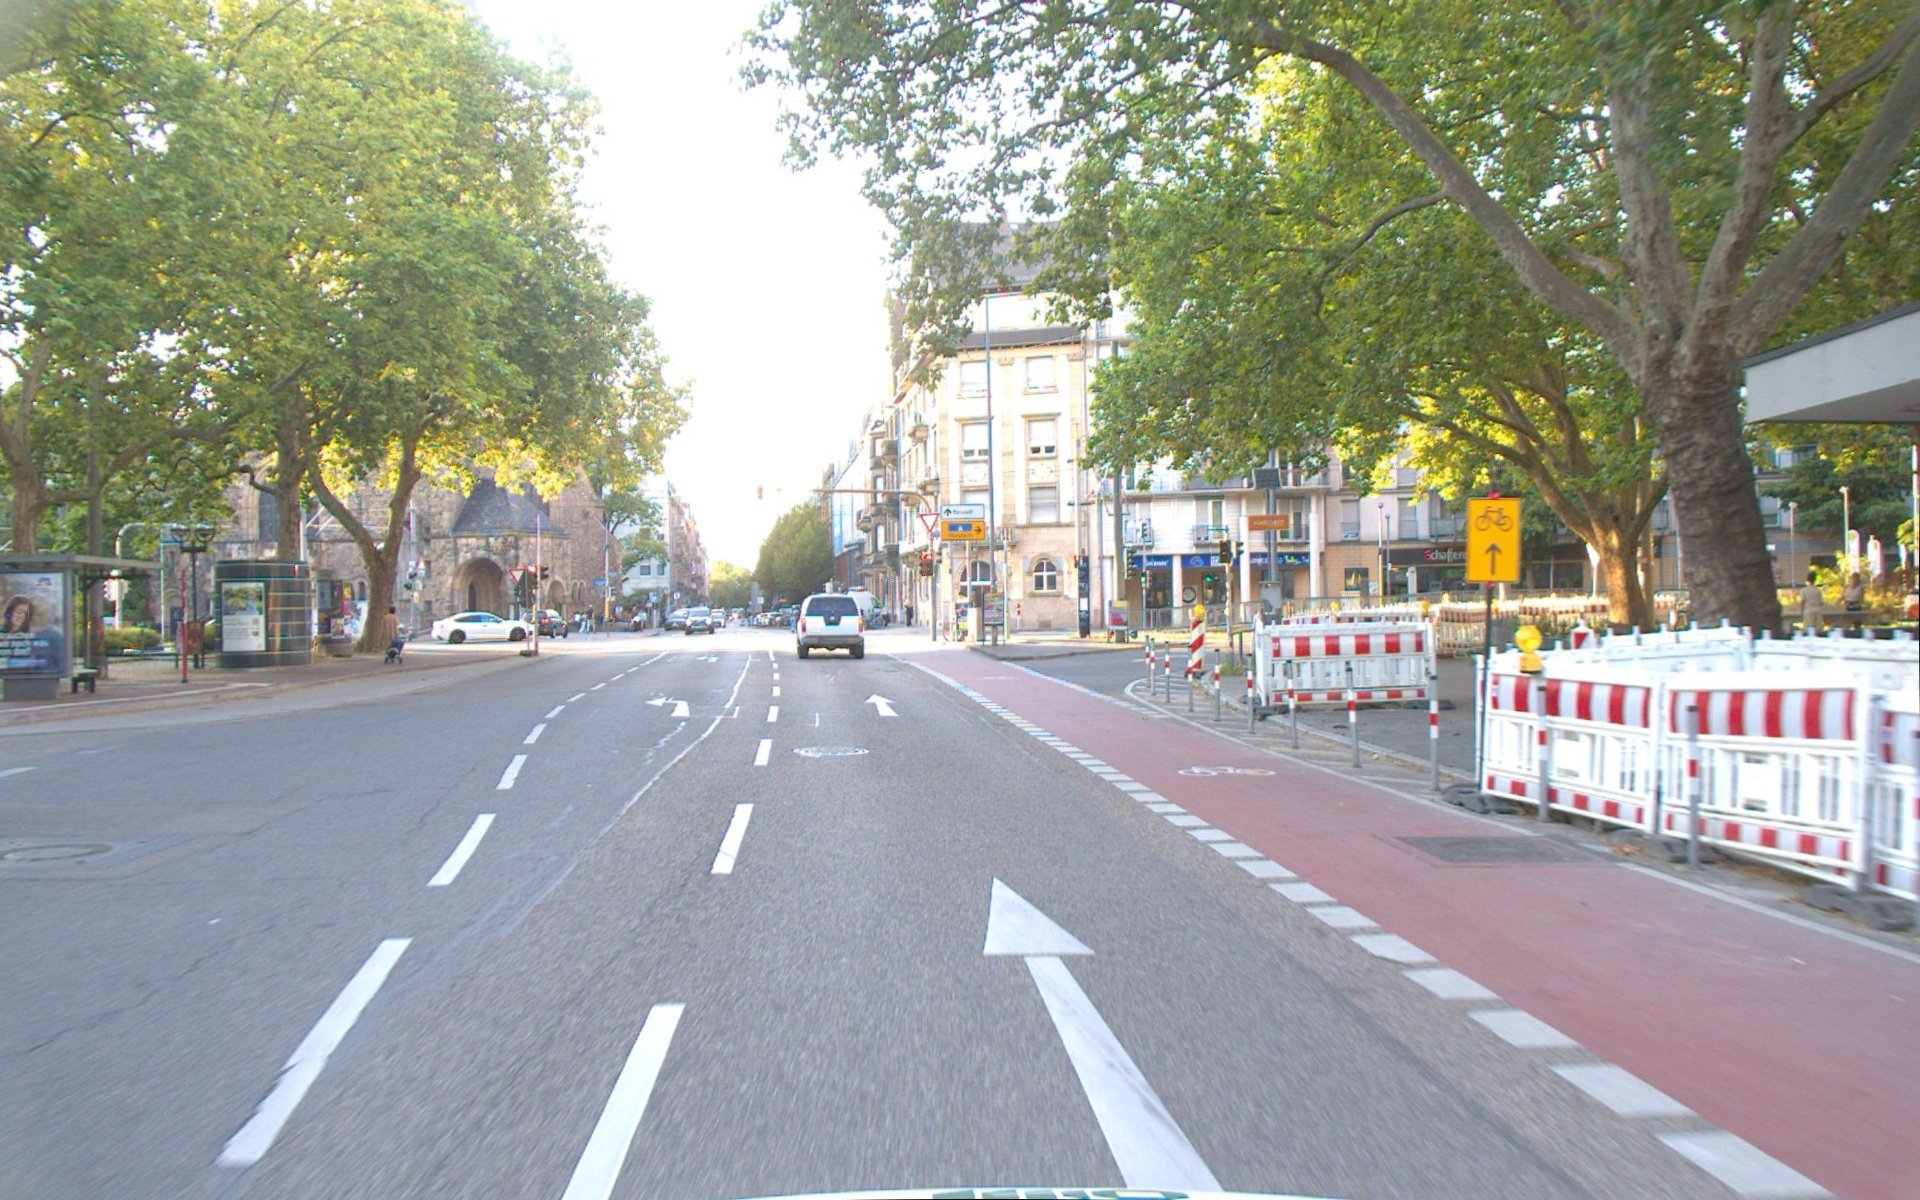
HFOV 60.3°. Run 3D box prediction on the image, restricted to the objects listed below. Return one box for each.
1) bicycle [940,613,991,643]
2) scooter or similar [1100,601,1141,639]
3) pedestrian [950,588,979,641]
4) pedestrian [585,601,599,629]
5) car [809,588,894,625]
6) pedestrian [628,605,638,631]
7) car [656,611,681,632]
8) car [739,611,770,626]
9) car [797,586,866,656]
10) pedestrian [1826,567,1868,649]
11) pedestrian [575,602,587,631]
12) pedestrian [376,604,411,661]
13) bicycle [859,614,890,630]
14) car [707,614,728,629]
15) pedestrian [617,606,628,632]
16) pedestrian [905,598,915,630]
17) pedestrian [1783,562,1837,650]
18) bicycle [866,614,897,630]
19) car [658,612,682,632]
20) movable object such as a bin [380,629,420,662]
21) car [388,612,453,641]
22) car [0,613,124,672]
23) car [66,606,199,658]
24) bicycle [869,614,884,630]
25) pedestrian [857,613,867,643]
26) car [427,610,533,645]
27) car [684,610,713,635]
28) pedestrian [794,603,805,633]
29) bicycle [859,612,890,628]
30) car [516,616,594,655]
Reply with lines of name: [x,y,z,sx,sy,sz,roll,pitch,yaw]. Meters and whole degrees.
bicycle: [0.172,0.939,56.548,1.661,0.985,0.544,-1,0,-11]
scooter or similar: [5.488,0.672,56.532,0.541,1.272,1.368,-1,0,-43]
pedestrian: [0.146,0.511,57.050,0.783,1.799,0.717,-1,0,-21]
pedestrian: [-25.052,1.012,112.579,0.640,1.920,0.586,-1,0,20]
car: [-7.149,0.401,109.516,2.036,2.328,5.785,-1,0,43]
pedestrian: [-24.403,1.369,123.460,0.580,1.920,0.554,-1,0,15]
car: [-23.760,1.768,134.712,1.958,1.680,3.810,1,-1,-11]
car: [-26.773,2.413,215.498,3.914,1.847,1.995,-1,0,-10]
car: [-3.688,0.583,47.253,1.830,1.846,3.996,-2,0,-5]
pedestrian: [19.650,0.170,36.634,0.700,1.789,0.663,-1,0,20]
pedestrian: [-25.771,1.110,112.576,0.581,1.920,0.554,-1,0,18]
pedestrian: [-16.761,0.946,48.957,0.722,1.657,0.686,-1,0,8]
bicycle: [-5.339,1.375,103.382,1.877,0.985,0.545,-1,0,-5]
car: [-24.936,2.236,170.220,1.958,1.533,3.810,1,-1,-11]
pedestrian: [-25.261,1.428,123.793,0.580,1.920,0.585,-1,0,15]
pedestrian: [-3.108,0.872,102.511,0.581,1.920,0.647,-1,0,-2]
pedestrian: [17.586,0.124,34.233,0.651,1.789,0.713,-1,0,-20]
bicycle: [-4.929,1.389,104.199,1.874,0.985,0.546,-1,0,11]
car: [-24.963,1.880,142.349,1.958,1.680,3.810,1,-1,-11]
movable object such as a bin: [-16.272,1.312,48.054,0.722,0.906,0.983,-1,0,8]
car: [-35.589,1.761,109.110,3.713,1.837,1.714,-1,0,15]
car: [-32.006,1.453,58.097,2.034,1.873,4.634,-1,1,18]
car: [-32.657,1.227,65.413,2.034,1.873,4.634,-1,1,18]
bicycle: [-5.325,1.396,105.534,0.532,0.985,1.923,-1,0,10]
pedestrian: [-6.128,1.740,103.076,0.581,1.799,0.653,-1,0,-2]
car: [-22.906,1.311,78.943,4.571,1.557,1.984,-1,0,-26]
car: [-17.918,1.541,113.274,1.750,1.680,3.810,1,-1,-11]
pedestrian: [-10.390,1.173,107.081,0.581,1.920,0.647,-1,0,-2]
bicycle: [-5.350,1.256,103.103,1.877,0.985,0.545,-1,0,-5]
car: [-21.171,1.838,86.606,2.034,1.873,4.635,-1,1,14]
